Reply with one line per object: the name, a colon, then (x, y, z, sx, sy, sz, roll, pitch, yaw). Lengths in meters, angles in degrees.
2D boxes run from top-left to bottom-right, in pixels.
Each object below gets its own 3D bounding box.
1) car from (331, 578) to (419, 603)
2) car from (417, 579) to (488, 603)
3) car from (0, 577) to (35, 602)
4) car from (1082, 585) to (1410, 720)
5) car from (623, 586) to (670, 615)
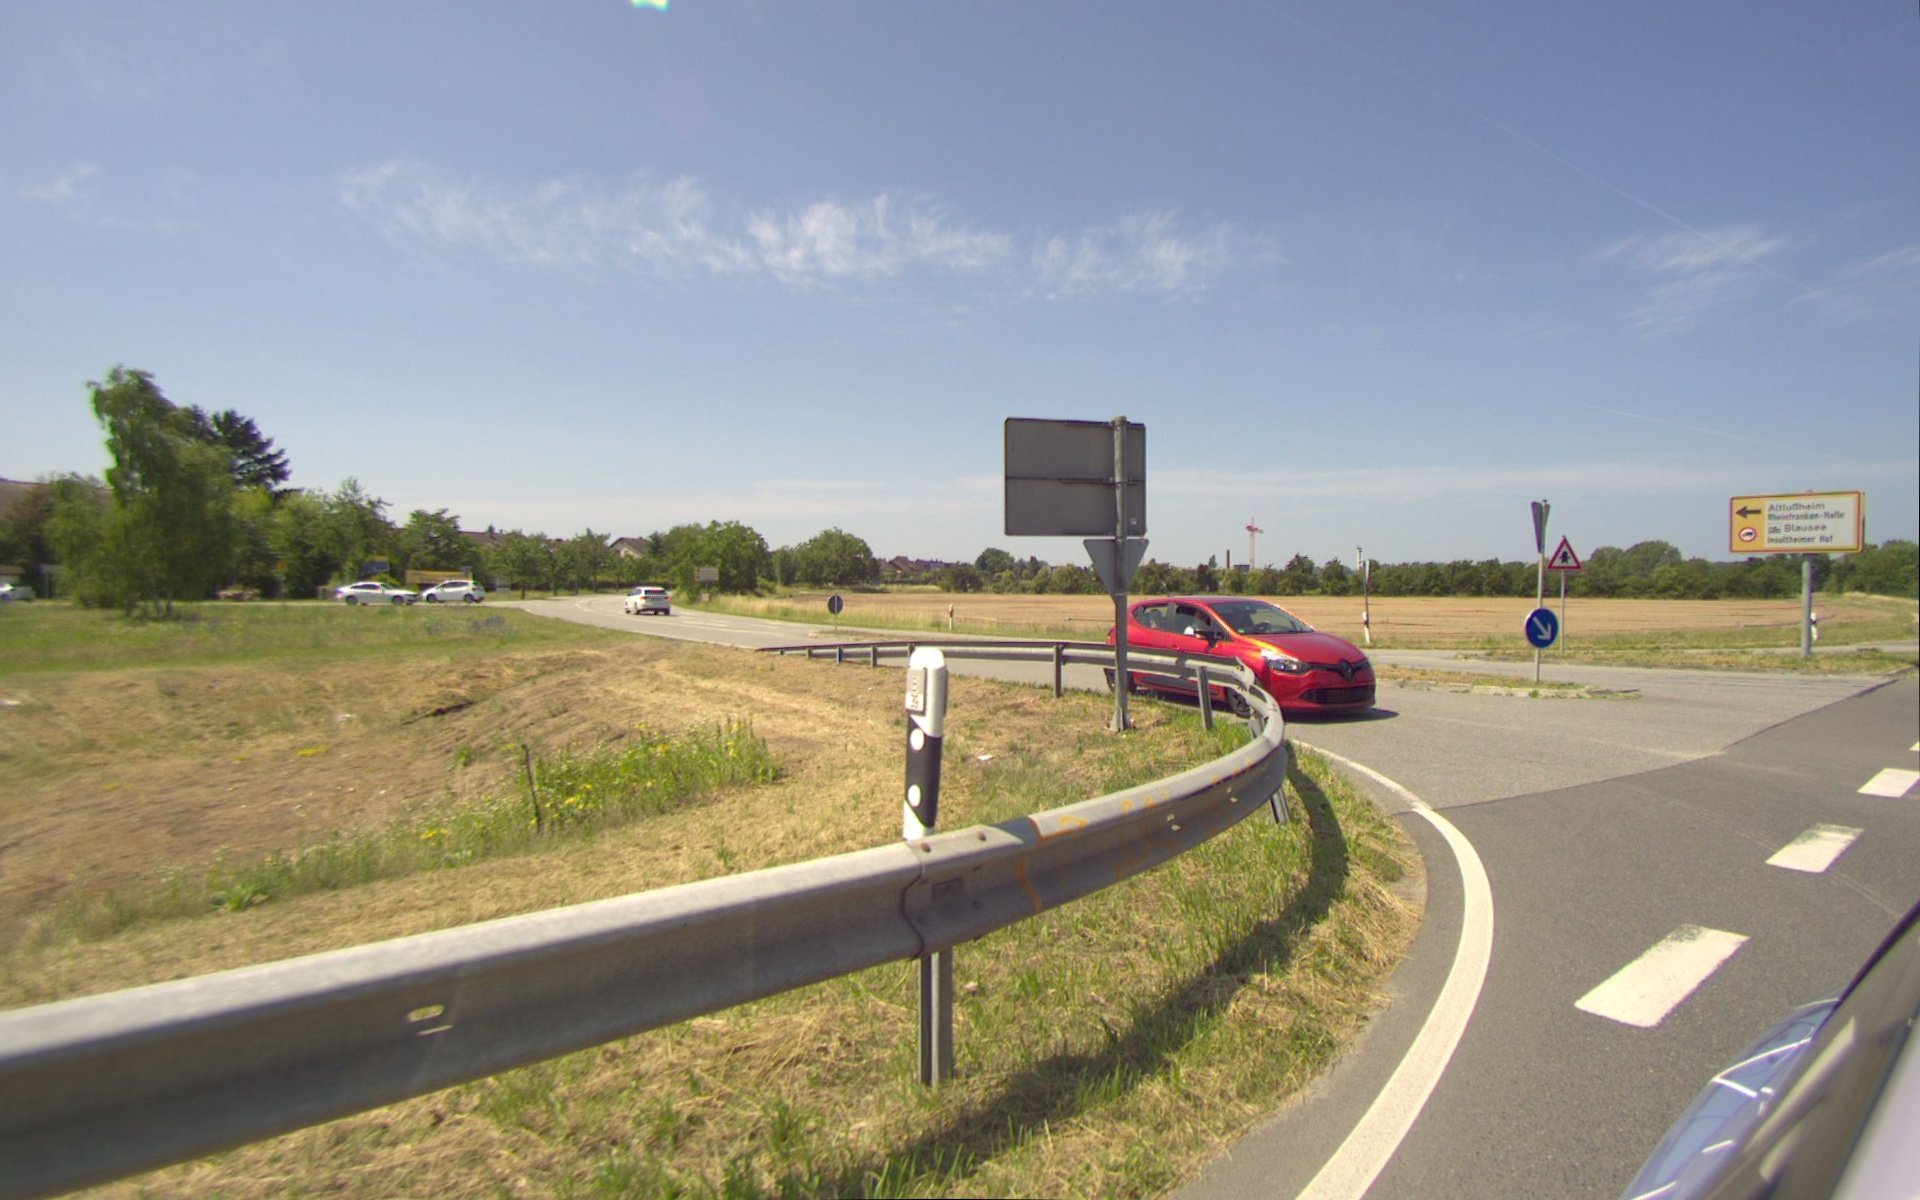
car: (-37.890, -0.612, 65.653, 4.670, 1.644, 1.646, 0, 0, -7)
car: (-35.746, -0.665, 71.364, 4.060, 1.644, 2.073, 0, 1, -4)
car: (-65.177, -0.725, 68.278, 3.920, 1.644, 1.646, 0, 1, -5)
car: (3.502, 0.549, 13.217, 1.743, 1.436, 4.172, -1, 1, -27)
car: (-16.807, 0.035, 54.119, 1.803, 1.436, 4.722, -1, 0, -25)
